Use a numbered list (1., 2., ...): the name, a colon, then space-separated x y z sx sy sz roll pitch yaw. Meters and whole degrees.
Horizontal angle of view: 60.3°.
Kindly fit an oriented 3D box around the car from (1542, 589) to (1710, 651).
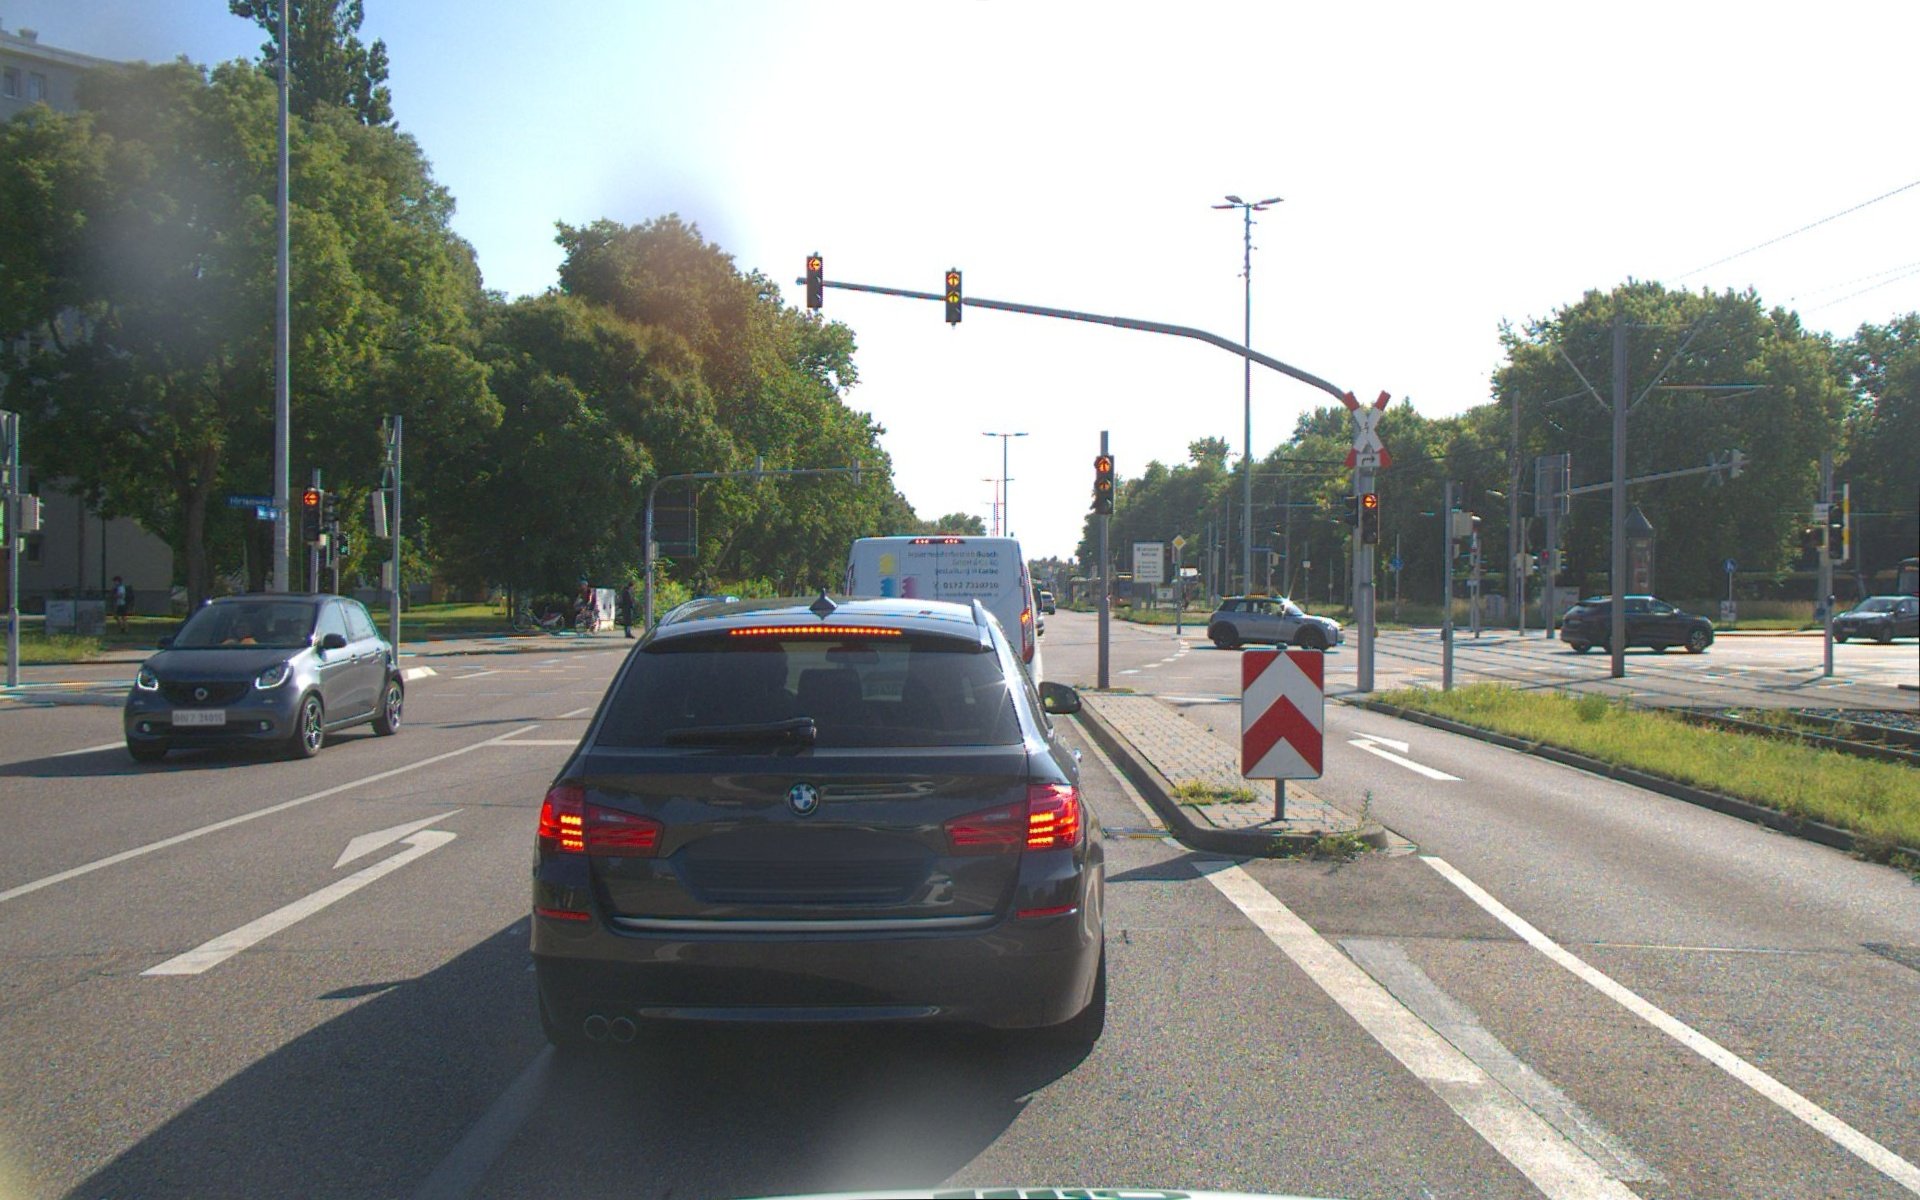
1. car: 19.460 0.559 48.355 4.531 1.752 1.642 0 1 -15

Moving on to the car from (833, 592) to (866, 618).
1. car: -6.592 0.292 98.593 1.851 1.499 4.098 -1 0 -3

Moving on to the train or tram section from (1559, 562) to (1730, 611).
1. train or tram section: 53.288 -1.035 128.966 11.984 3.642 3.043 0 0 36

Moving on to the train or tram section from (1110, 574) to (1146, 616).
1. train or tram section: 15.712 -0.416 155.683 2.738 3.681 12.960 1 0 3

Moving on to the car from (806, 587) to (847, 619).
1. car: -6.910 0.123 85.906 1.709 1.589 4.000 -2 0 0

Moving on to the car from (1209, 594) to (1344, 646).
1. car: 8.869 0.544 46.326 3.447 1.408 1.606 0 0 24

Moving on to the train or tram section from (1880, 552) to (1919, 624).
1. train or tram section: 53.193 -0.609 87.918 11.721 3.642 3.015 0 0 -37

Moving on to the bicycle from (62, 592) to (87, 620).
1. bicycle: -35.035 0.236 65.441 0.606 1.085 1.892 1 -2 -37

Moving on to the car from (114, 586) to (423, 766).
1. car: -6.860 0.678 16.814 1.600 1.587 3.675 -2 0 -1

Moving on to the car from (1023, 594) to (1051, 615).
1. car: 5.651 0.345 121.440 1.757 1.512 3.898 0 0 -2

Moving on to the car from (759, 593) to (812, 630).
1. car: -7.531 0.466 71.674 1.667 1.490 4.371 -1 0 2

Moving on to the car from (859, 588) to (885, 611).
1. car: -6.018 -0.052 113.863 1.753 1.546 3.998 -1 0 -3

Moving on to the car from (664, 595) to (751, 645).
1. car: -7.730 0.583 50.972 1.742 1.439 4.247 0 0 4

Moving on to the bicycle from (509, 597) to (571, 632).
1. bicycle: -13.808 0.484 54.430 1.870 1.138 0.632 0 0 -1

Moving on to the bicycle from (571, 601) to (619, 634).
1. bicycle: -12.040 0.576 54.629 0.606 1.058 2.073 0 0 17

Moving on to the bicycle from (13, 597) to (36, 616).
1. bicycle: -36.602 0.259 64.689 0.578 0.721 2.211 0 1 -35

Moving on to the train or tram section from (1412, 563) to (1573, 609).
1. train or tram section: 43.527 -1.130 135.477 12.170 3.642 3.048 0 0 31

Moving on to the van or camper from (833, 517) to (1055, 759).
1. van or camper: -0.114 0.320 16.864 1.952 2.133 4.599 0 0 1

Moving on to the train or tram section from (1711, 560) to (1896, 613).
1. train or tram section: 60.930 -0.948 119.876 3.017 3.642 12.087 0 0 -34

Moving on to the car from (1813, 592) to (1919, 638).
1. car: 32.834 0.505 58.937 4.792 1.590 2.025 0 0 -29

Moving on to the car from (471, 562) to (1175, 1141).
1. car: -0.382 0.657 6.424 1.864 1.532 4.064 0 0 -1

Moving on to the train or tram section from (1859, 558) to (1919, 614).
1. train or tram section: 63.747 -0.924 108.475 2.981 3.642 12.231 0 0 0

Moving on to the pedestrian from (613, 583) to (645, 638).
1. pedestrian: -10.876 0.348 54.304 0.798 1.782 0.932 0 0 5

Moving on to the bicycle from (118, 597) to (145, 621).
1. bicycle: -33.471 0.338 66.807 0.663 0.936 2.377 0 0 -35

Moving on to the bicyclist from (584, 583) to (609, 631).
1. bicyclist: -12.023 0.238 54.684 0.594 1.587 0.603 0 0 17

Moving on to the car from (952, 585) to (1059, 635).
1. car: 1.450 0.296 54.768 1.827 1.590 4.168 0 0 -26

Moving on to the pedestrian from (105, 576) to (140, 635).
1. pedestrian: -25.111 0.165 49.601 0.610 1.743 0.705 0 0 11
